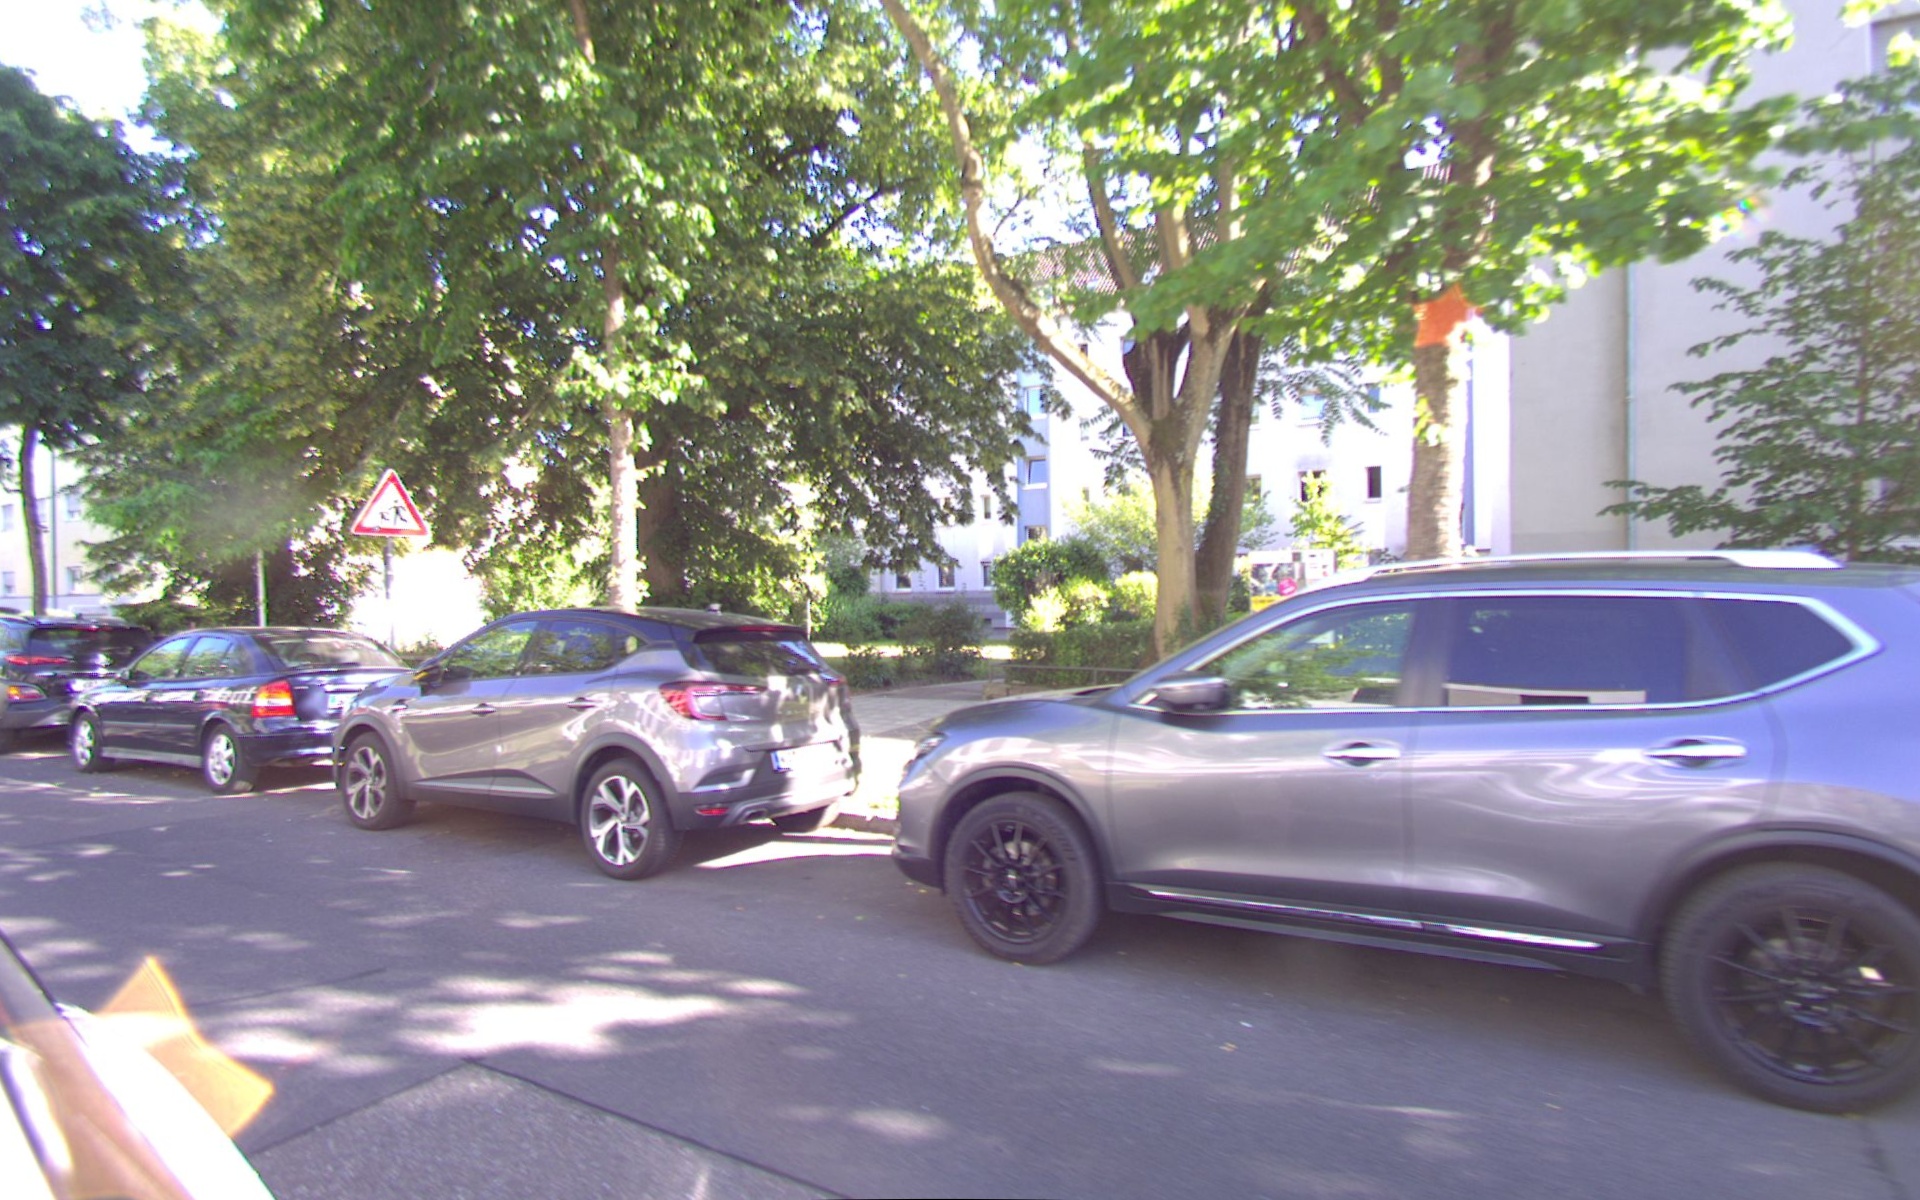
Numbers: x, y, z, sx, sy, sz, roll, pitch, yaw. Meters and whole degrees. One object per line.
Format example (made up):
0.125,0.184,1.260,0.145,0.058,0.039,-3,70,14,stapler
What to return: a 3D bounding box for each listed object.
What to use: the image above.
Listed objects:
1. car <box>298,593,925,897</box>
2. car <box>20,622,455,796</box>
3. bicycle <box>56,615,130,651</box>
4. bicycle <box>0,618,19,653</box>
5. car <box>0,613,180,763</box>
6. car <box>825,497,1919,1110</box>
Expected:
-2.560,0.764,7.053,4.404,1.543,1.756,-1,0,32,car
-7.148,0.915,9.918,4.463,1.363,1.773,-1,-1,30,car
-32.085,1.208,37.474,0.773,1.235,1.940,-1,0,28,bicycle
-34.995,1.284,36.245,0.515,1.235,1.808,-1,0,32,bicycle
-11.634,0.969,12.536,4.466,1.589,1.693,-1,-1,32,car
1.870,0.594,4.299,4.795,1.701,1.755,-1,-1,30,car
